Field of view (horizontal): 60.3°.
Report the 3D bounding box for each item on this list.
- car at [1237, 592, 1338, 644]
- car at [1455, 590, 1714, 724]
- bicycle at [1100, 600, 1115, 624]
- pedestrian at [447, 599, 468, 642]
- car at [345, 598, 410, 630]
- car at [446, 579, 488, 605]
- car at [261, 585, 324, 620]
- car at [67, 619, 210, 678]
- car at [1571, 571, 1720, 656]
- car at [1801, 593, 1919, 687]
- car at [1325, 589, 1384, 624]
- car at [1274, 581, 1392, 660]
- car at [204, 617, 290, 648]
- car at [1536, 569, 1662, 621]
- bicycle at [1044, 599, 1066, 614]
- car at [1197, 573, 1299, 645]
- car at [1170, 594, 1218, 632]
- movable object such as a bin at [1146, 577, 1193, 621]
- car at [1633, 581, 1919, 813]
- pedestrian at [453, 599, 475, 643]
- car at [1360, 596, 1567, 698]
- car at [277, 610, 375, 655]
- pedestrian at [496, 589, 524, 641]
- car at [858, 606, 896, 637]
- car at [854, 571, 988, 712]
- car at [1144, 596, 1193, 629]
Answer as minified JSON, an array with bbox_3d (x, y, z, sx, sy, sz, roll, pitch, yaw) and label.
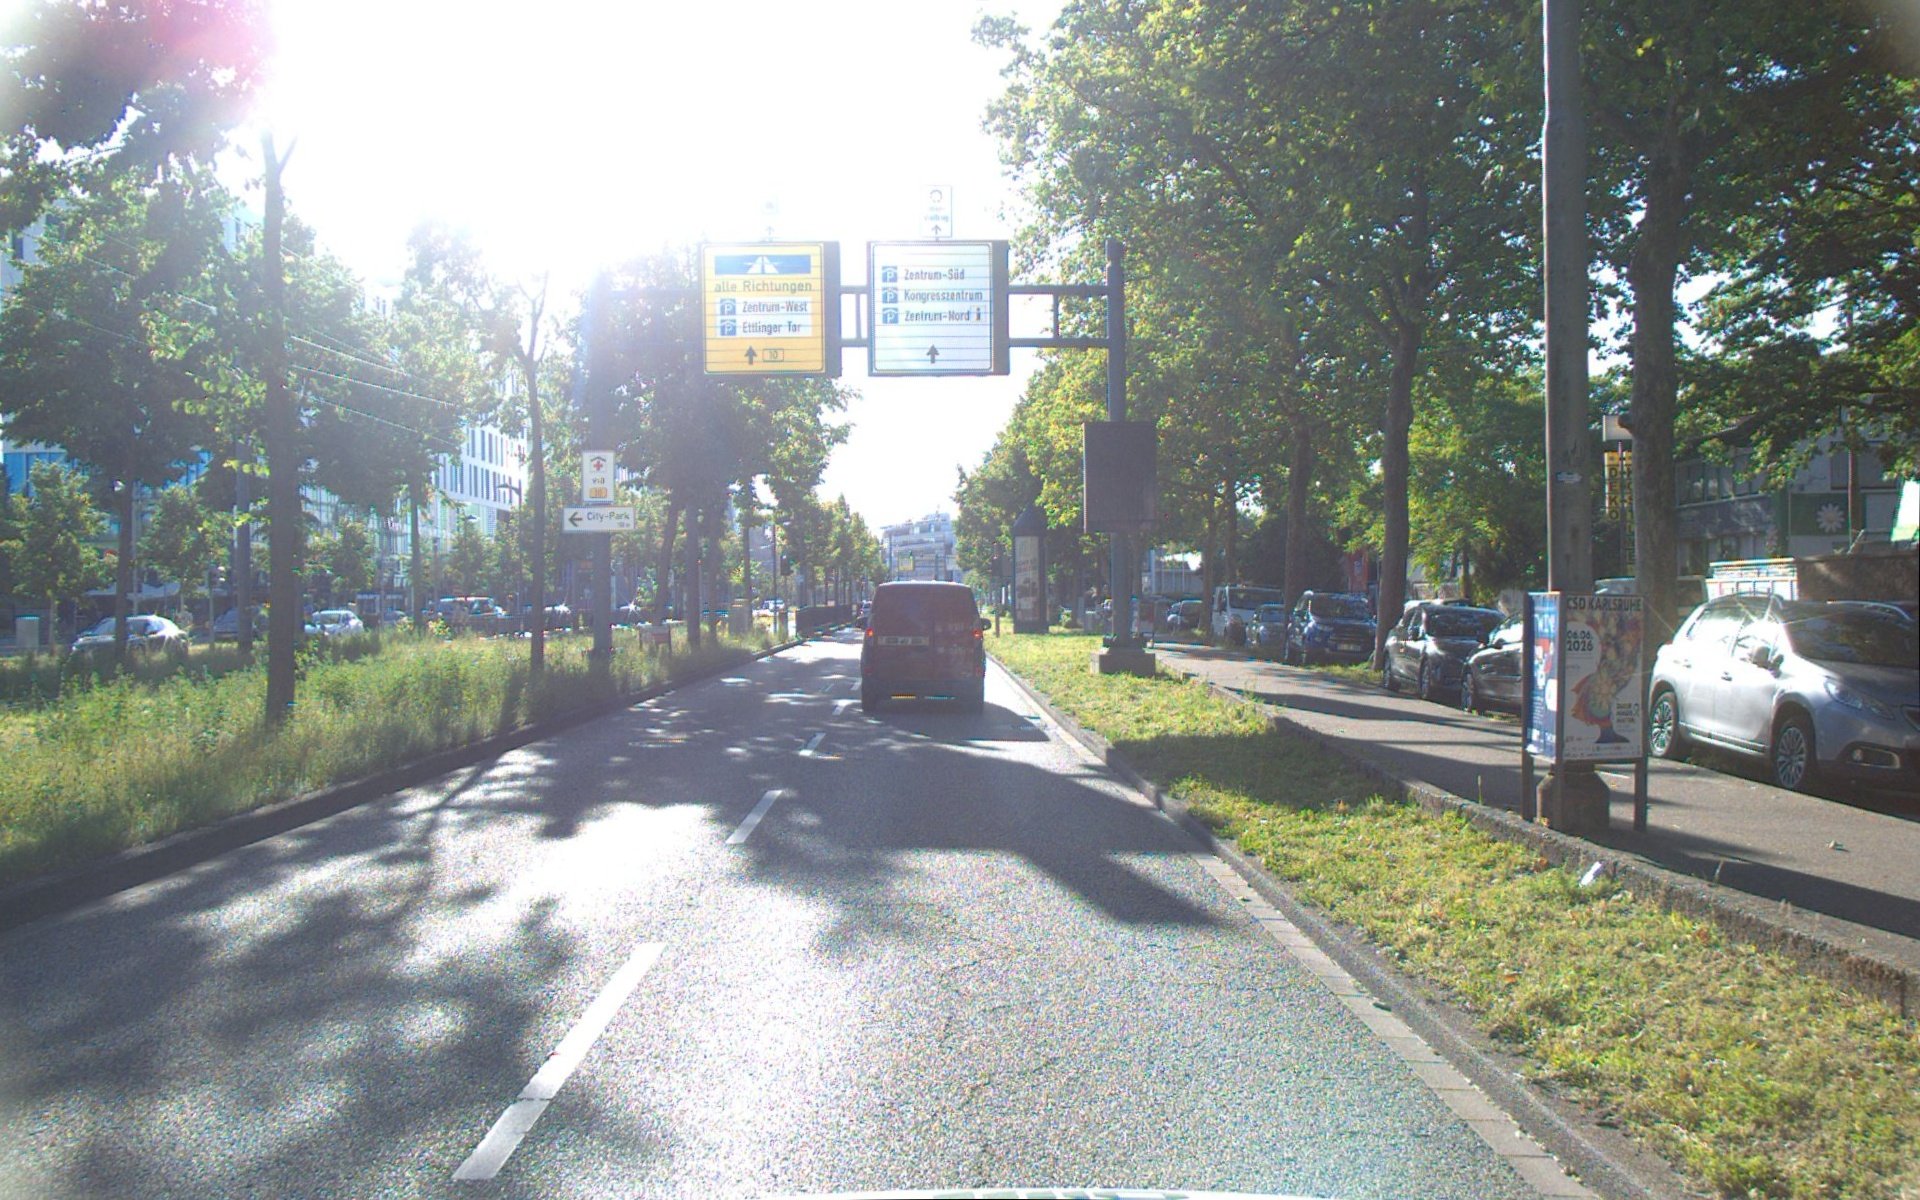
[{"bbox_3d":[8.832,0.476,44.940,1.953,1.312,4.052,1,0,0],"label":"car"},{"bbox_3d":[7.539,0.647,20.364,1.756,1.463,3.884,1,0,1],"label":"car"},{"bbox_3d":[6.491,0.531,72.806,0.483,1.065,1.904,1,-1,1],"label":"bicycle"},{"bbox_3d":[-18.065,0.729,59.512,0.531,1.523,0.603,1,-1,3],"label":"pedestrian"},{"bbox_3d":[-32.365,0.799,92.050,1.953,1.701,4.610,1,0,0],"label":"car"},{"bbox_3d":[-39.671,-0.618,133.145,1.953,2.049,4.563,1,0,0],"label":"car"},{"bbox_3d":[-40.367,0.155,100.117,1.953,2.049,4.563,1,0,0],"label":"car"},{"bbox_3d":[-23.178,1.337,46.870,1.953,1.554,4.318,1,0,-1],"label":"car"},{"bbox_3d":[17.607,0.339,42.744,2.043,2.049,4.944,0,0,4],"label":"car"},{"bbox_3d":[16.697,0.668,29.470,1.655,1.498,3.760,-3,0,4],"label":"car"},{"bbox_3d":[19.536,0.316,82.019,1.953,1.669,4.000,1,0,0],"label":"car"},{"bbox_3d":[8.414,0.464,37.671,1.701,1.671,4.352,1,0,0],"label":"car"},{"bbox_3d":[-32.294,1.460,75.061,1.873,1.348,4.610,1,0,0],"label":"car"},{"bbox_3d":[23.959,-0.171,62.072,4.000,1.883,1.849,1,-1,-1],"label":"car"},{"bbox_3d":[8.468,0.594,147.351,1.878,1.290,0.479,0,0,0],"label":"bicycle"},{"bbox_3d":[8.801,0.282,51.107,2.145,2.049,5.819,1,0,0],"label":"car"},{"bbox_3d":[9.664,0.545,68.377,1.627,1.527,2.989,1,0,1],"label":"car"},{"bbox_3d":[10.032,-0.032,79.308,2.038,2.049,2.137,1,-1,3],"label":"movable object such as a bin"},{"bbox_3d":[7.139,0.715,13.460,1.756,1.587,4.021,2,0,2],"label":"car"},{"bbox_3d":[-17.615,0.738,58.762,0.538,1.545,0.589,1,-1,4],"label":"pedestrian"},{"bbox_3d":[7.771,0.684,25.996,1.952,1.405,4.678,2,0,2],"label":"car"},{"bbox_3d":[-23.643,1.187,61.832,1.952,1.599,4.167,-1,0,1],"label":"car"},{"bbox_3d":[-16.379,0.541,60.234,0.804,1.868,0.726,1,-1,-4],"label":"pedestrian"},{"bbox_3d":[-4.569,1.152,91.284,1.953,1.646,3.999,1,0,-1],"label":"car"},{"bbox_3d":[-0.647,0.573,24.256,1.773,1.870,3.997,1,0,-4],"label":"car"},{"bbox_3d":[9.259,0.547,73.788,1.957,1.409,4.747,1,0,4],"label":"car"}]
